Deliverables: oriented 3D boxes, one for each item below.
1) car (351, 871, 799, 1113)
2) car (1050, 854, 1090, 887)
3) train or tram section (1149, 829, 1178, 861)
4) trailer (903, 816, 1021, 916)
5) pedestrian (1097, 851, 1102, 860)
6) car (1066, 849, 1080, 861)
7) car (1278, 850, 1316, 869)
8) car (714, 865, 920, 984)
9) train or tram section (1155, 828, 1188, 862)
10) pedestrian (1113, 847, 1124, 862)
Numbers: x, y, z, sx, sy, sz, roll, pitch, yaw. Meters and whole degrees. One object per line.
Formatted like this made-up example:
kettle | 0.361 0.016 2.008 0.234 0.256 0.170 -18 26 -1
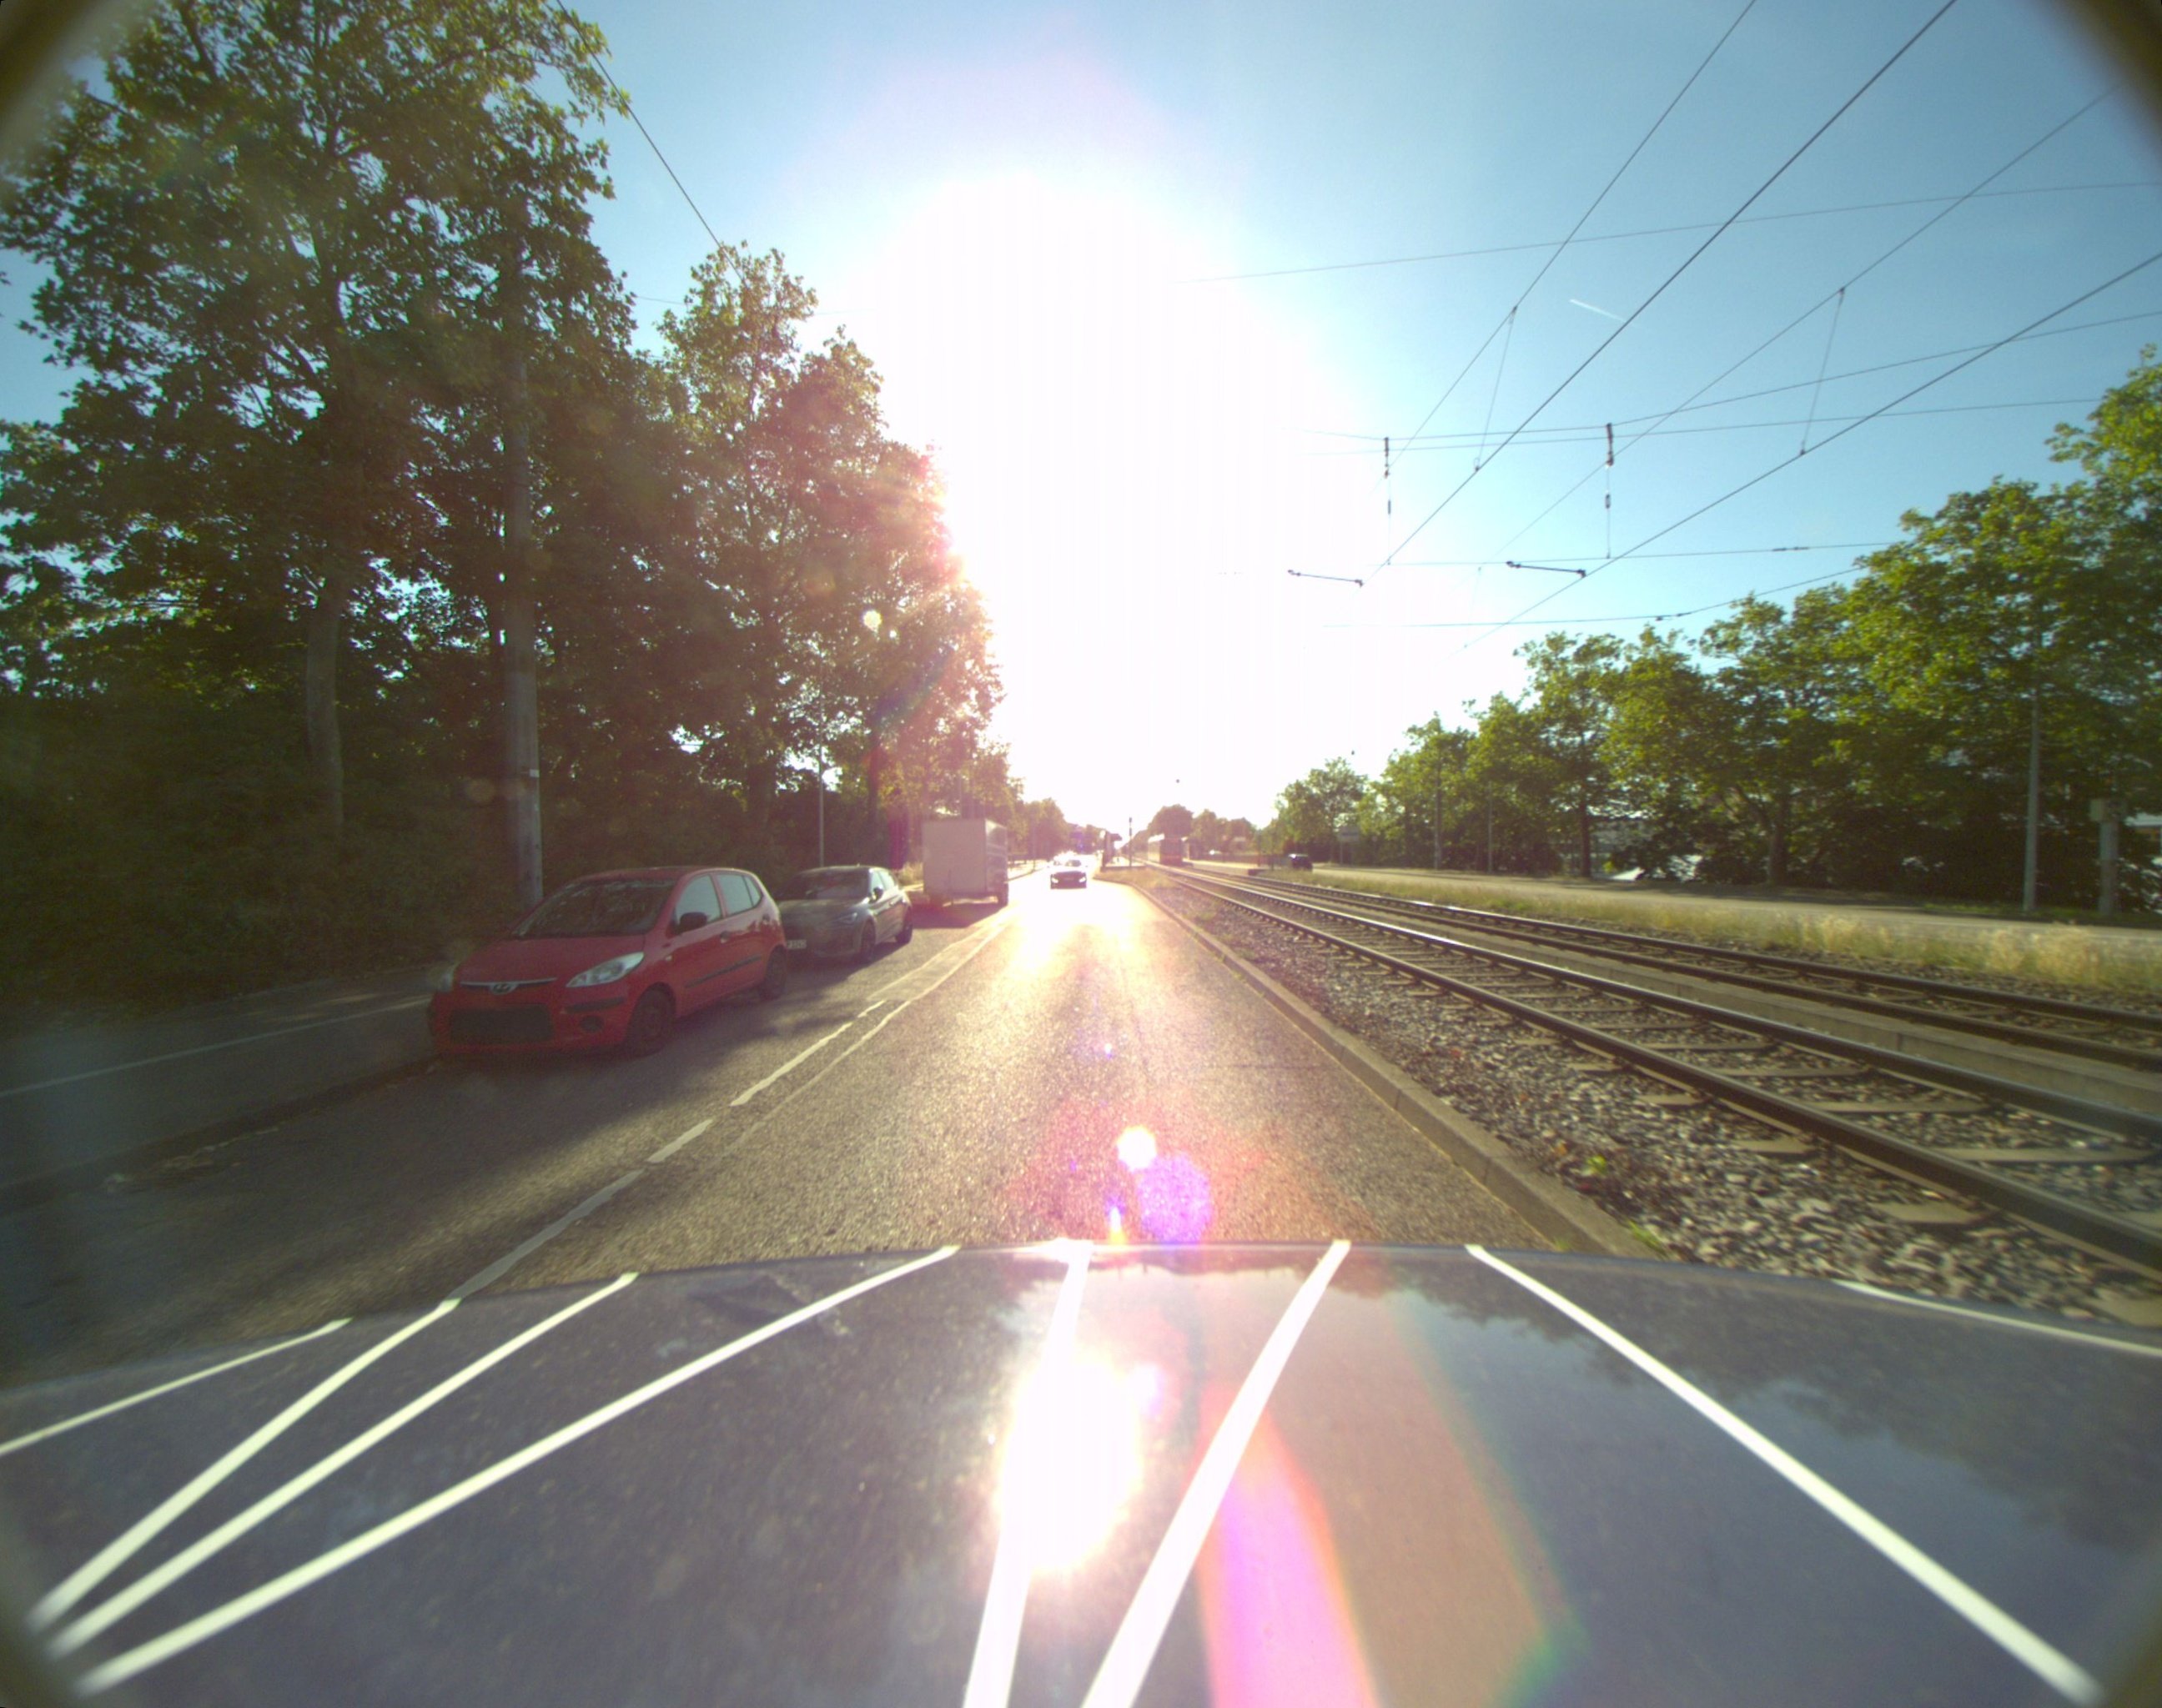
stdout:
car | -4.260 1.023 7.200 1.644 1.528 3.640 -3 0 2
car | -0.506 0.757 37.323 1.786 1.530 4.000 0 0 2
train or tram section | 11.102 -1.214 103.983 2.834 3.983 15.875 -2 1 2
trailer | -3.493 0.309 23.701 2.256 2.679 5.948 -1 0 4
pedestrian | 3.645 0.285 146.444 0.891 1.635 0.987 0 1 7
car | -1.043 0.131 102.967 1.784 1.586 4.000 -1 0 1
car | 16.542 0.418 58.429 1.777 1.416 4.489 0 0 2
car | -4.003 0.987 12.335 1.813 1.448 4.165 -2 0 0
train or tram section | 10.501 -1.028 89.603 2.834 3.665 12.969 -2 1 2
pedestrian | 3.647 0.053 74.211 0.760 1.485 0.696 -1 1 35
